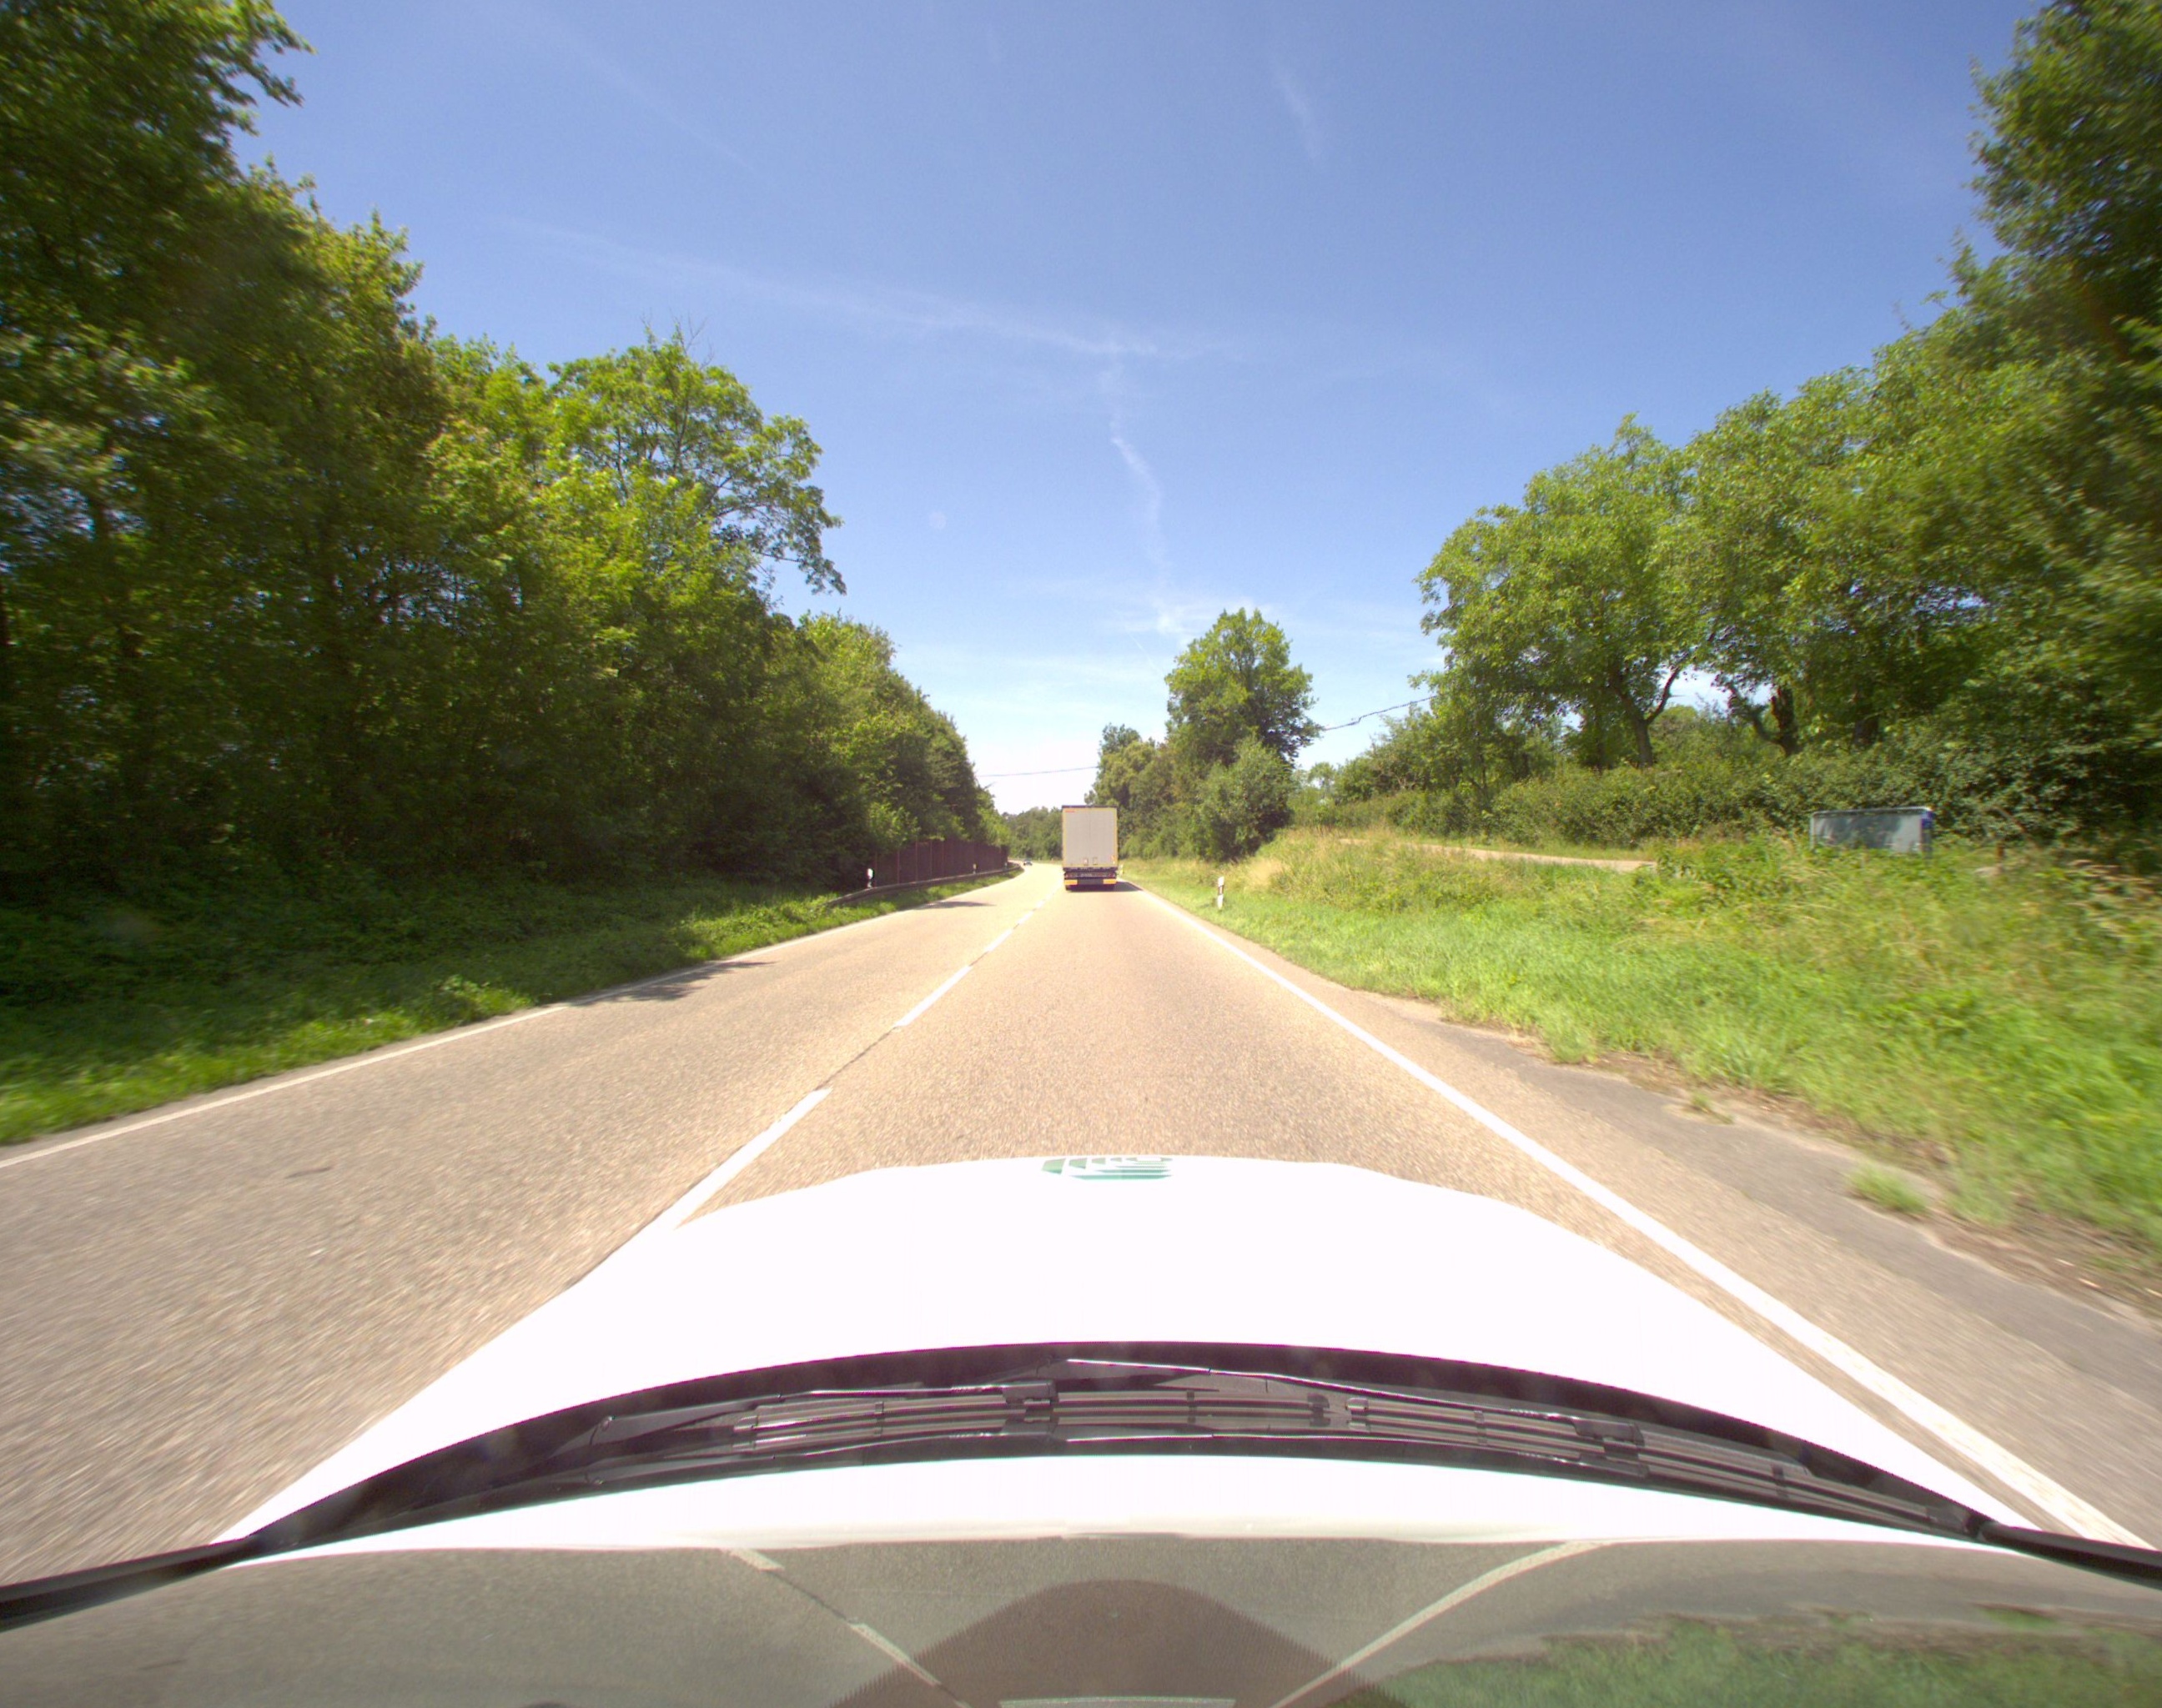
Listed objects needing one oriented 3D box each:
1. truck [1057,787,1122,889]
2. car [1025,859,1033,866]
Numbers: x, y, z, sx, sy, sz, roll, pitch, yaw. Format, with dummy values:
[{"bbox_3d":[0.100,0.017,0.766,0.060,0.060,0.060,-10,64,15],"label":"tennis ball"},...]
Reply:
[{"bbox_3d":[0.550,-0.646,40.209,2.810,4.604,6.671,-1,-1,4],"label":"truck"},{"bbox_3d":[-11.588,1.870,180.615,1.616,1.491,3.607,-1,0,-8],"label":"car"}]
